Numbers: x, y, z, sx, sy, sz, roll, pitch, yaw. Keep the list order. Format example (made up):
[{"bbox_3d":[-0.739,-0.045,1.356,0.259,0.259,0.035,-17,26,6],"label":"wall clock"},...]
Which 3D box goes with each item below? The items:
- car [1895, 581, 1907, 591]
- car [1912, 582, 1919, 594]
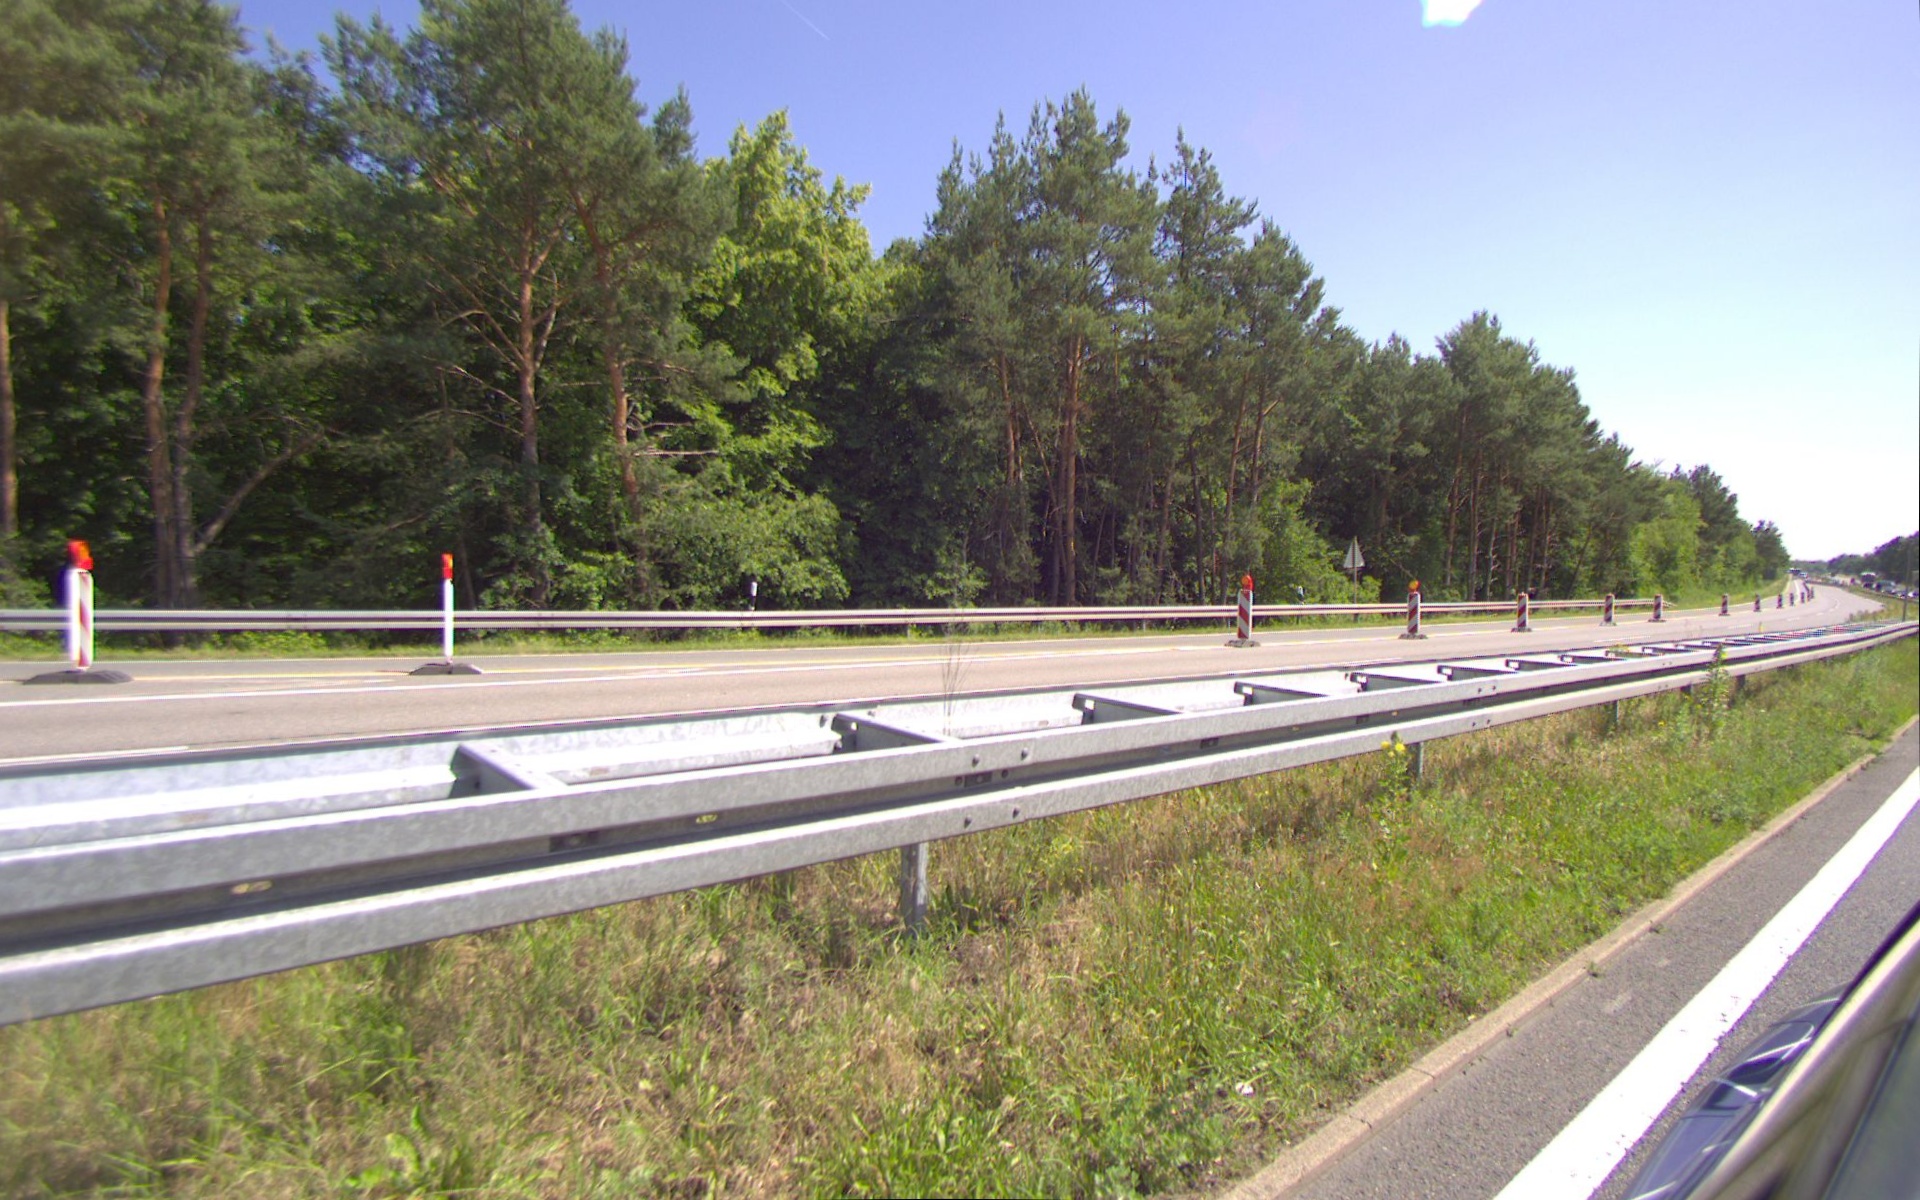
[{"bbox_3d":[167.122,-2.474,179.743,1.523,1.677,3.919,2,1,42],"label":"car"},{"bbox_3d":[143.109,-1.747,150.858,3.915,1.677,1.524,0,1,-44],"label":"car"}]
